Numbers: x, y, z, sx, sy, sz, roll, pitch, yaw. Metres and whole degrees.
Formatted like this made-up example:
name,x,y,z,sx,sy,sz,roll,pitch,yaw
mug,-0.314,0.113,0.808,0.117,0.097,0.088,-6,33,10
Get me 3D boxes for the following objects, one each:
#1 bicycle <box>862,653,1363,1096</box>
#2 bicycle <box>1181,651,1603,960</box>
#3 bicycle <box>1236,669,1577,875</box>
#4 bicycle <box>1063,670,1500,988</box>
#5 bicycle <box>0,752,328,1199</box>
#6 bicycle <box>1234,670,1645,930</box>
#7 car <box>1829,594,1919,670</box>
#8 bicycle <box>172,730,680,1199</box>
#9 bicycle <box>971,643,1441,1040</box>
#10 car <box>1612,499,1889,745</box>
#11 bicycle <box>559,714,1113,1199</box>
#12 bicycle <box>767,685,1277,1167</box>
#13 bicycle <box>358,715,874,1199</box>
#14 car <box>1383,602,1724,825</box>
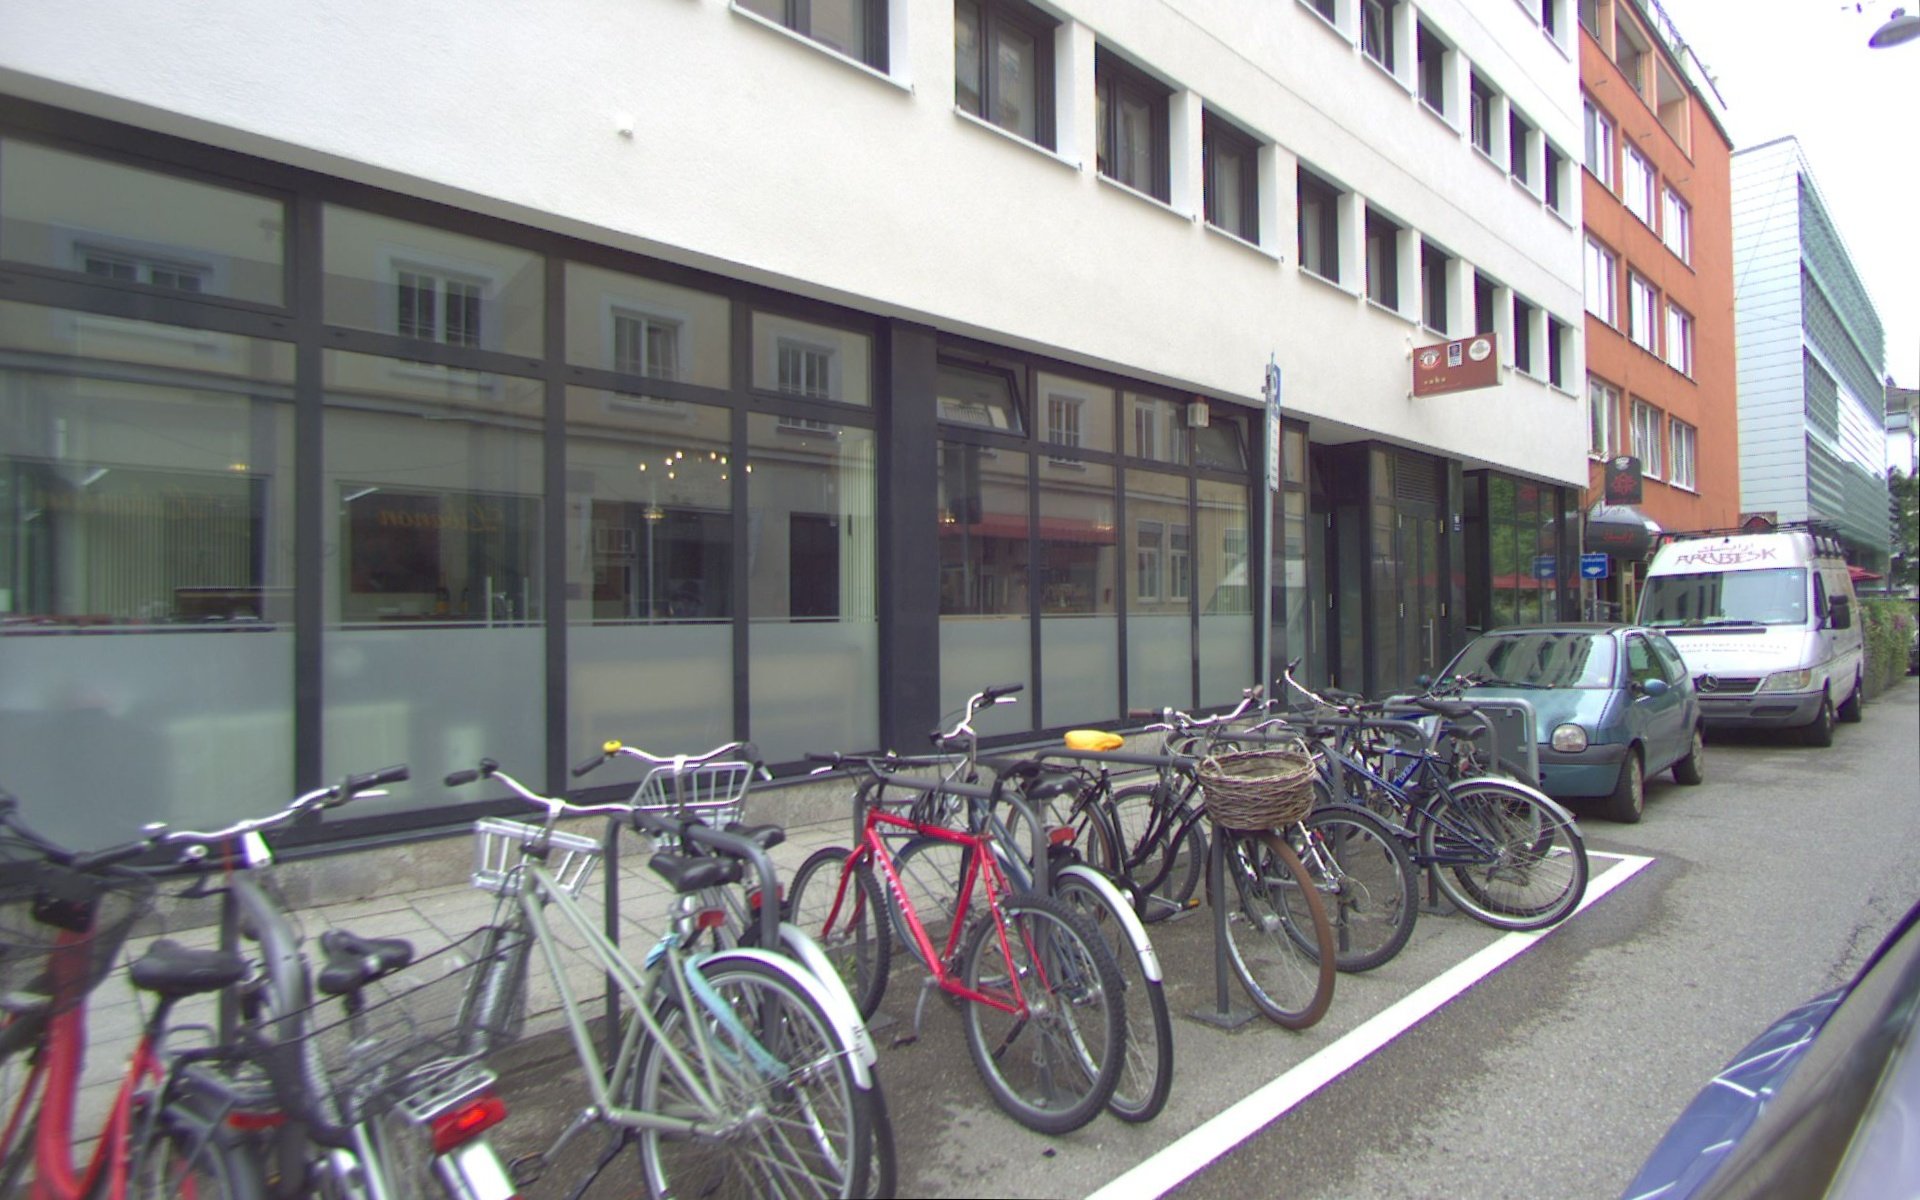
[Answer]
name,x,y,z,sx,sy,sz,roll,pitch,yaw
bicycle,0.444,0.825,3.761,0.556,1.185,1.894,1,-1,-44
bicycle,2.024,0.884,5.003,0.480,1.220,1.875,2,-3,-44
bicycle,2.701,0.991,6.328,0.480,1.094,1.874,2,-5,-44
bicycle,1.385,0.926,4.713,0.555,1.172,1.874,2,-4,-44
bicycle,-1.654,0.929,1.944,0.372,1.094,1.613,2,-3,-45
bicycle,2.417,0.939,5.329,0.480,1.123,1.874,2,-4,-44
car,22.945,0.749,24.837,4.313,1.732,1.826,0,-2,-42
bicycle,-1.259,0.907,2.151,0.402,1.094,1.874,2,-3,-45
bicycle,0.903,0.822,4.174,0.570,1.219,1.875,1,-1,-44
car,10.498,0.278,13.211,5.896,2.539,1.921,1,-3,-44
bicycle,-0.491,0.956,2.968,1.874,1.065,0.555,-2,0,45
bicycle,0.079,0.885,3.368,0.433,1.109,1.874,2,-3,-45
bicycle,-0.968,0.898,2.472,0.396,1.094,1.874,2,-3,-45
car,5.098,0.773,8.518,3.493,1.483,1.581,0,-2,-44
